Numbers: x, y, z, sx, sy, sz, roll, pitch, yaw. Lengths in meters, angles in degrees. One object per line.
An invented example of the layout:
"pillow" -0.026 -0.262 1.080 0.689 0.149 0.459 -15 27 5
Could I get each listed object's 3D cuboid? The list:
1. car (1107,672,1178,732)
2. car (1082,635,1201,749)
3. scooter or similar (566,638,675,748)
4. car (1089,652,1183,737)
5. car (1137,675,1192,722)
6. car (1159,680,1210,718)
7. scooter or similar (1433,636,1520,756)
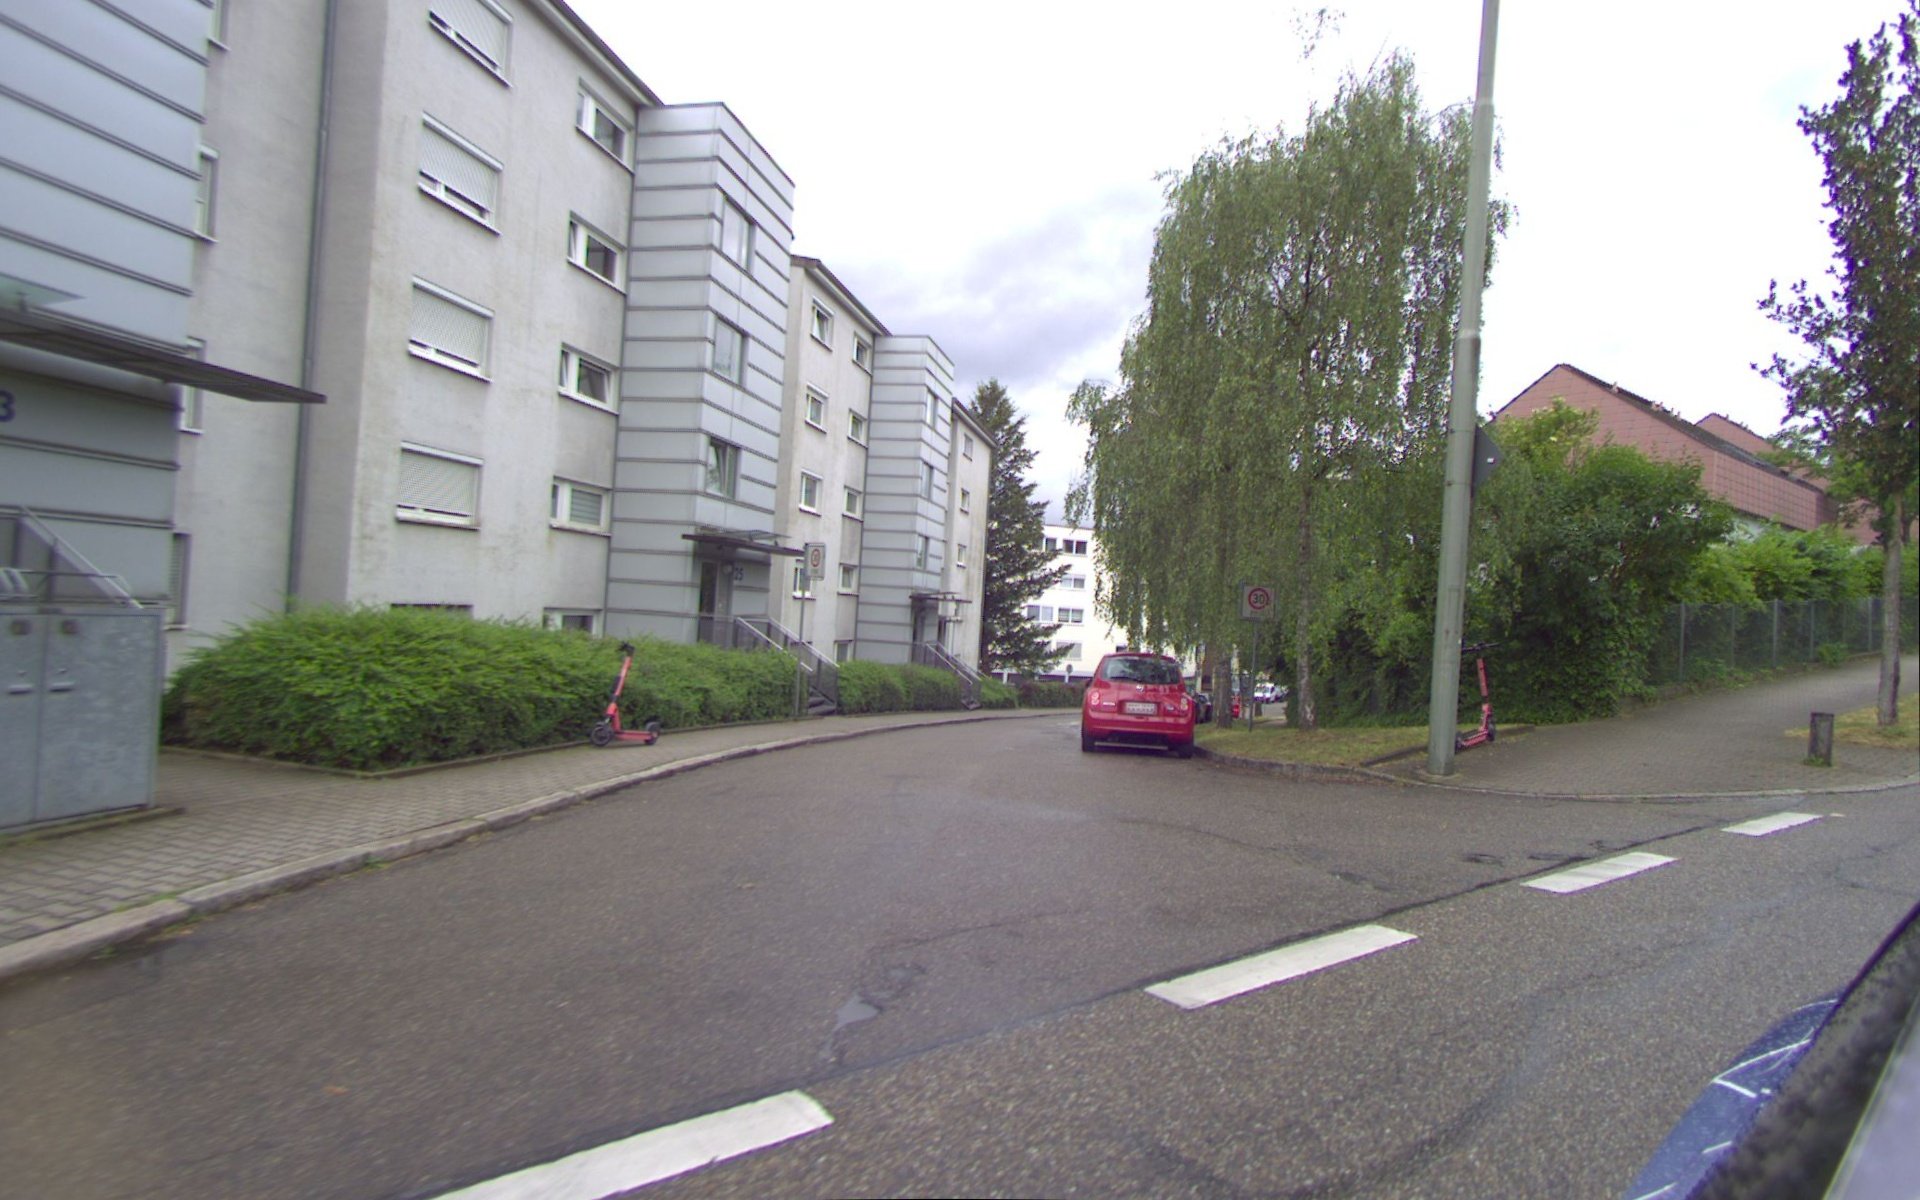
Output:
"car" 4.910 2.770 27.134 1.699 1.441 4.283 -2 -7 11
"car" 2.846 1.454 15.805 1.619 1.543 3.554 0 -6 11
"scooter or similar" -3.991 1.092 11.978 0.491 1.200 1.196 3 -4 19
"car" 3.711 2.052 21.139 1.699 1.563 4.354 -2 -8 11
"car" 6.548 3.136 32.540 1.570 1.397 3.884 -2 -5 11
"car" 10.037 4.416 45.002 1.972 1.618 3.977 -2 -6 16
"scooter or similar" 5.982 1.080 11.703 1.244 1.270 0.343 -2 -2 -38
